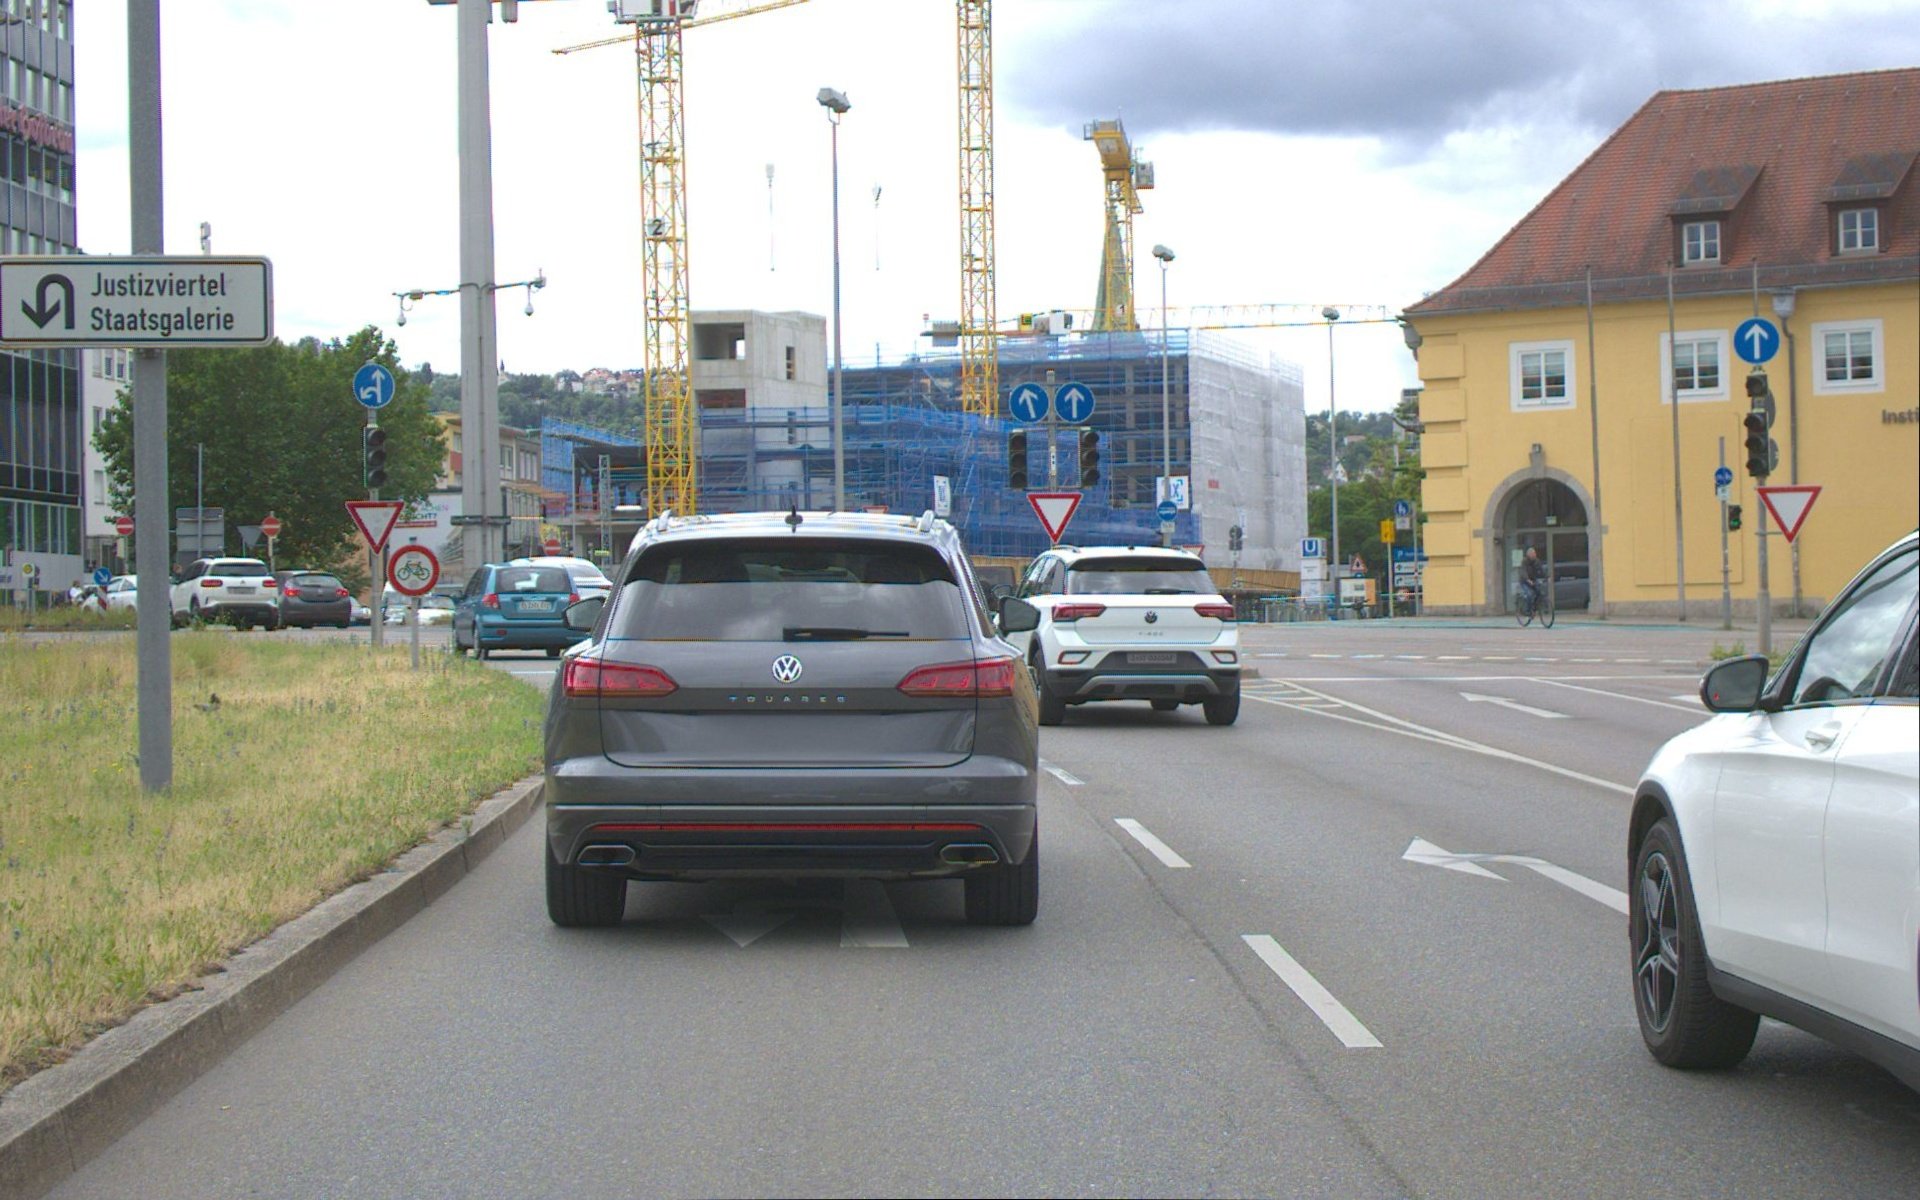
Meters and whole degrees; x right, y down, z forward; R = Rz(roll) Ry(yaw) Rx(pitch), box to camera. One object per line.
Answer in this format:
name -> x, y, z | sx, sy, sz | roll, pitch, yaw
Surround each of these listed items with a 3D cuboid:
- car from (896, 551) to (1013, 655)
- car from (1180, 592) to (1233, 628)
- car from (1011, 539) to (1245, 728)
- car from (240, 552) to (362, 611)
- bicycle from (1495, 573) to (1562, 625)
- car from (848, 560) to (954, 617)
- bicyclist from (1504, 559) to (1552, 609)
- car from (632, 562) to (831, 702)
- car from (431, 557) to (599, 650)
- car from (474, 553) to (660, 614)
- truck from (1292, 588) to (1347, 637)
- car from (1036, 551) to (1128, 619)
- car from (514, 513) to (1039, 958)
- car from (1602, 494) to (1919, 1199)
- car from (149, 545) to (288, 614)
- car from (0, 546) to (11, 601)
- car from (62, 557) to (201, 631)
car -> -0.058, 0.021, 52.530 | 1.719, 1.497, 4.144 | 0, 1, 1
car -> 10.625, 0.413, 148.055 | 1.804, 1.497, 3.979 | 0, 1, 11
car -> 1.446, 0.251, 30.937 | 1.893, 1.580, 3.801 | 0, 1, 0
car -> -16.189, -0.471, 84.344 | 1.640, 1.392, 3.597 | 0, 1, -34
bicycle -> 13.076, -0.032, 79.182 | 0.923, 1.155, 2.465 | 0, 1, -5
car -> -1.724, -0.363, 102.344 | 1.989, 1.661, 3.978 | 0, 1, 18
bicyclist -> 13.085, -0.368, 79.168 | 0.923, 1.155, 0.725 | 0, 0, -5
car -> -2.421, 0.293, 35.579 | 1.792, 1.352, 4.071 | 0, 1, -7
car -> -6.810, 0.032, 52.302 | 1.792, 1.352, 4.071 | 0, 1, -18
car -> -7.586, -0.321, 66.116 | 1.670, 1.135, 4.069 | -1, 1, -38
truck -> 18.688, 0.639, 178.475 | 2.129, 2.445, 4.824 | 0, 1, 15
car -> 2.793, -0.361, 79.404 | 1.803, 1.497, 3.982 | 0, 1, -2
car -> -0.700, 0.456, 14.683 | 1.933, 1.641, 4.000 | 0, 1, -1
car -> 2.918, 0.574, 8.314 | 1.819, 1.641, 4.379 | 0, 1, -1
car -> -16.652, -0.479, 77.097 | 1.814, 1.491, 3.906 | -1, 1, -32
car -> -28.632, -0.745, 95.315 | 4.607, 1.497, 2.247 | 1, 2, 40
car -> -22.782, -0.192, 94.464 | 1.895, 1.605, 3.998 | -6, 8, -44
